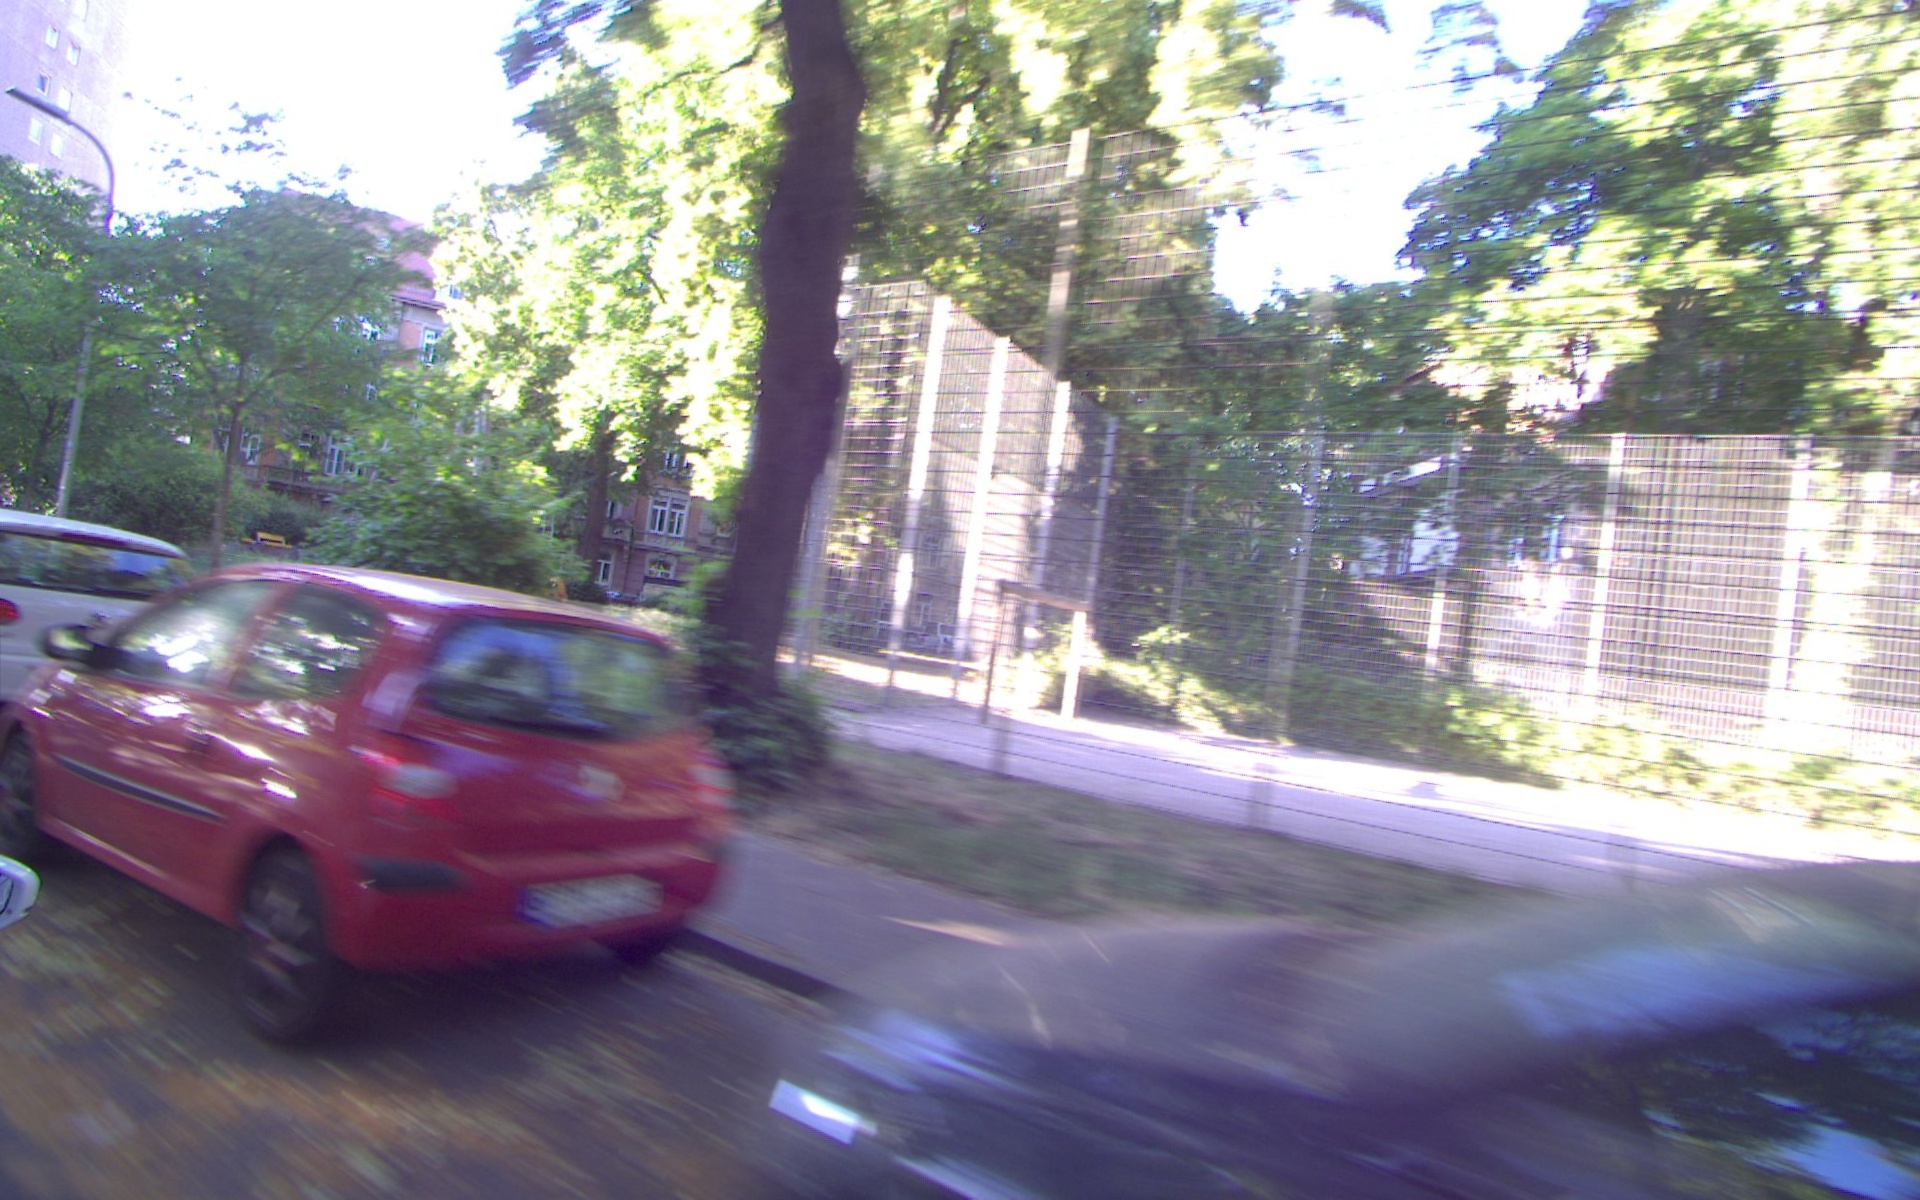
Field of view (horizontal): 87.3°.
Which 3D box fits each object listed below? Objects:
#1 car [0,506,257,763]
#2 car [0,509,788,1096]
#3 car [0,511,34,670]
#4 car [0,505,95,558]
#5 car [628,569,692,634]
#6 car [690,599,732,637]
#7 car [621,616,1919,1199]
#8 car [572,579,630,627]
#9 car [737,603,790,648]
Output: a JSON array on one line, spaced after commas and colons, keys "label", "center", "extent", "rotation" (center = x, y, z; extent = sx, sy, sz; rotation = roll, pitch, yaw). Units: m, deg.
[{"label": "car", "center": [-7.001, 0.063, 7.152], "extent": [4.008, 1.470, 1.685], "rotation": [6, -3, 31]}, {"label": "car", "center": [-2.691, 0.563, 4.380], "extent": [3.496, 1.470, 1.595], "rotation": [6, -3, 31]}, {"label": "car", "center": [-11.056, -0.371, 9.735], "extent": [4.005, 1.470, 1.686], "rotation": [7, -3, 27]}, {"label": "car", "center": [-38.099, -2.907, 40.711], "extent": [4.208, 1.567, 1.742], "rotation": [8, -5, -12]}, {"label": "car", "center": [-13.648, 0.096, 46.058], "extent": [2.336, 2.483, 5.496], "rotation": [8, -3, -15]}, {"label": "car", "center": [-13.980, 0.992, 56.359], "extent": [1.970, 1.803, 3.991], "rotation": [8, -3, -15]}, {"label": "car", "center": [1.513, 1.044, 1.515], "extent": [3.882, 1.470, 1.677], "rotation": [7, -3, 30]}, {"label": "car", "center": [-16.224, 0.160, 45.600], "extent": [1.970, 1.803, 3.991], "rotation": [8, -3, -15]}, {"label": "car", "center": [-9.306, 1.173, 47.518], "extent": [1.970, 1.803, 3.991], "rotation": [8, -3, -15]}]
